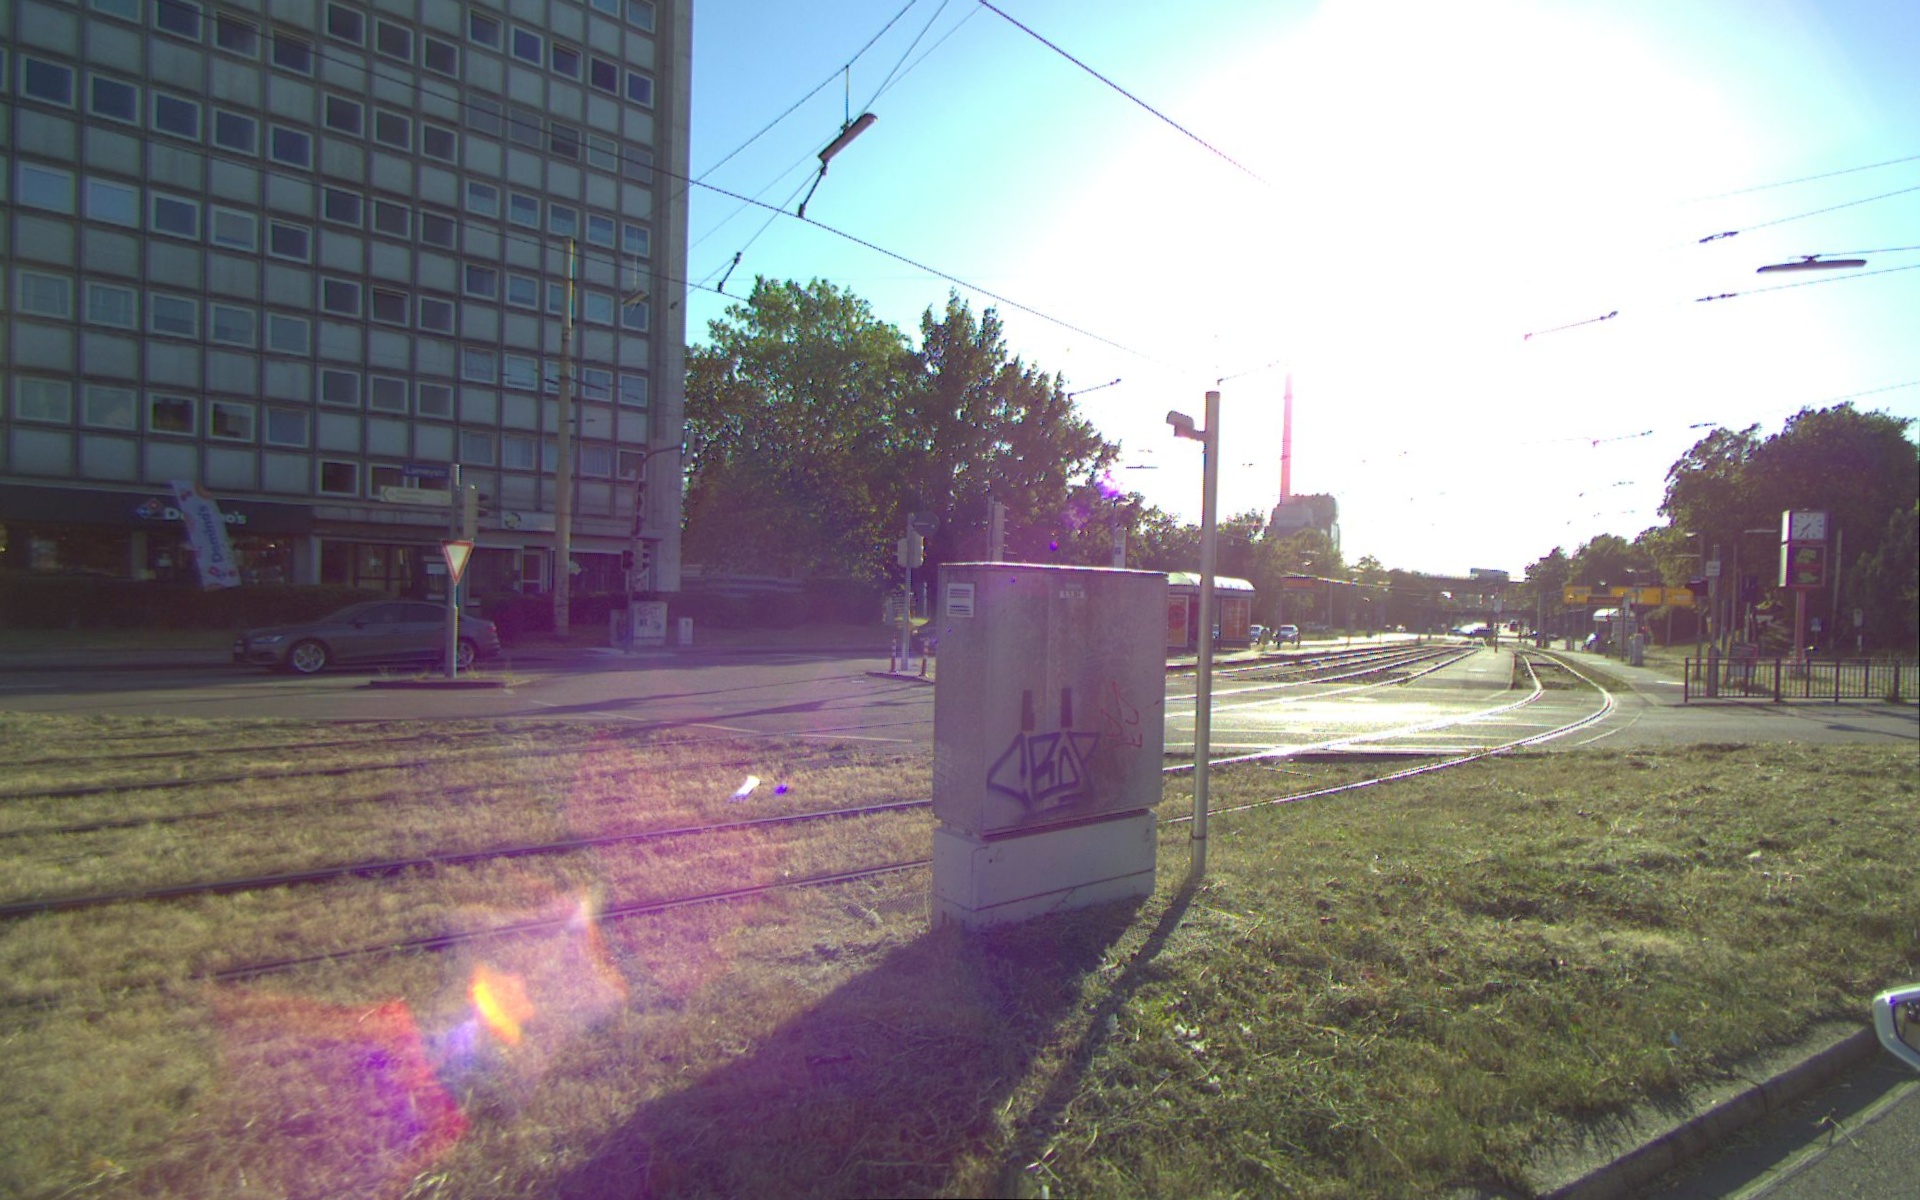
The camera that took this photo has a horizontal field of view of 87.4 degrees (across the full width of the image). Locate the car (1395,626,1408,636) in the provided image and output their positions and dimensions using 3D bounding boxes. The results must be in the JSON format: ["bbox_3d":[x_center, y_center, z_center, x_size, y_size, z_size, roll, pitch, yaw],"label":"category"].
[{"bbox_3d":[91.178,6.374,207.336,1.964,2.040,3.993,1,-1,29],"label":"car"}]

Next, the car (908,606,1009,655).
[{"bbox_3d":[0.019,1.116,36.574,1.559,1.616,4.140,3,0,35],"label":"car"}]

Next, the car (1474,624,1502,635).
[{"bbox_3d":[109.238,6.102,207.768,1.985,2.041,4.741,1,1,-41],"label":"car"}]

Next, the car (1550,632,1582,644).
[{"bbox_3d":[116.571,7.215,193.319,1.986,2.041,4.800,1,1,-43],"label":"car"}]

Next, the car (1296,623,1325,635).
[{"bbox_3d":[57.544,4.787,164.940,3.920,1.773,2.001,1,-1,2],"label":"car"}]

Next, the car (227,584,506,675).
[{"bbox_3d":[-11.840,0.587,20.322,1.631,1.617,4.566,2,0,39],"label":"car"}]

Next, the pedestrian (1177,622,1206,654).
[{"bbox_3d":[8.942,1.451,38.847,0.831,1.204,0.921,1,-1,31],"label":"pedestrian"}]

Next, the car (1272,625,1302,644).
[{"bbox_3d":[28.577,3.018,87.752,1.631,1.552,4.384,1,-1,29],"label":"car"}]

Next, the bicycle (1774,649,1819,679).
[{"bbox_3d":[26.912,2.034,32.297,1.722,0.930,0.551,2,-2,-30],"label":"bicycle"}]

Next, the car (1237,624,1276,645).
[{"bbox_3d":[22.839,2.666,77.266,1.777,1.386,3.953,2,2,34],"label":"car"}]

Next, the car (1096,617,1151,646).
[{"bbox_3d":[8.387,1.590,51.387,1.523,1.358,3.585,2,0,32],"label":"car"}]

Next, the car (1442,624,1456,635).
[{"bbox_3d":[97.742,5.867,200.695,1.966,2.040,4.849,1,-1,34],"label":"car"}]

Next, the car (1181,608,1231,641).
[{"bbox_3d":[16.130,1.608,65.824,1.965,2.040,4.151,1,-1,32],"label":"car"}]
